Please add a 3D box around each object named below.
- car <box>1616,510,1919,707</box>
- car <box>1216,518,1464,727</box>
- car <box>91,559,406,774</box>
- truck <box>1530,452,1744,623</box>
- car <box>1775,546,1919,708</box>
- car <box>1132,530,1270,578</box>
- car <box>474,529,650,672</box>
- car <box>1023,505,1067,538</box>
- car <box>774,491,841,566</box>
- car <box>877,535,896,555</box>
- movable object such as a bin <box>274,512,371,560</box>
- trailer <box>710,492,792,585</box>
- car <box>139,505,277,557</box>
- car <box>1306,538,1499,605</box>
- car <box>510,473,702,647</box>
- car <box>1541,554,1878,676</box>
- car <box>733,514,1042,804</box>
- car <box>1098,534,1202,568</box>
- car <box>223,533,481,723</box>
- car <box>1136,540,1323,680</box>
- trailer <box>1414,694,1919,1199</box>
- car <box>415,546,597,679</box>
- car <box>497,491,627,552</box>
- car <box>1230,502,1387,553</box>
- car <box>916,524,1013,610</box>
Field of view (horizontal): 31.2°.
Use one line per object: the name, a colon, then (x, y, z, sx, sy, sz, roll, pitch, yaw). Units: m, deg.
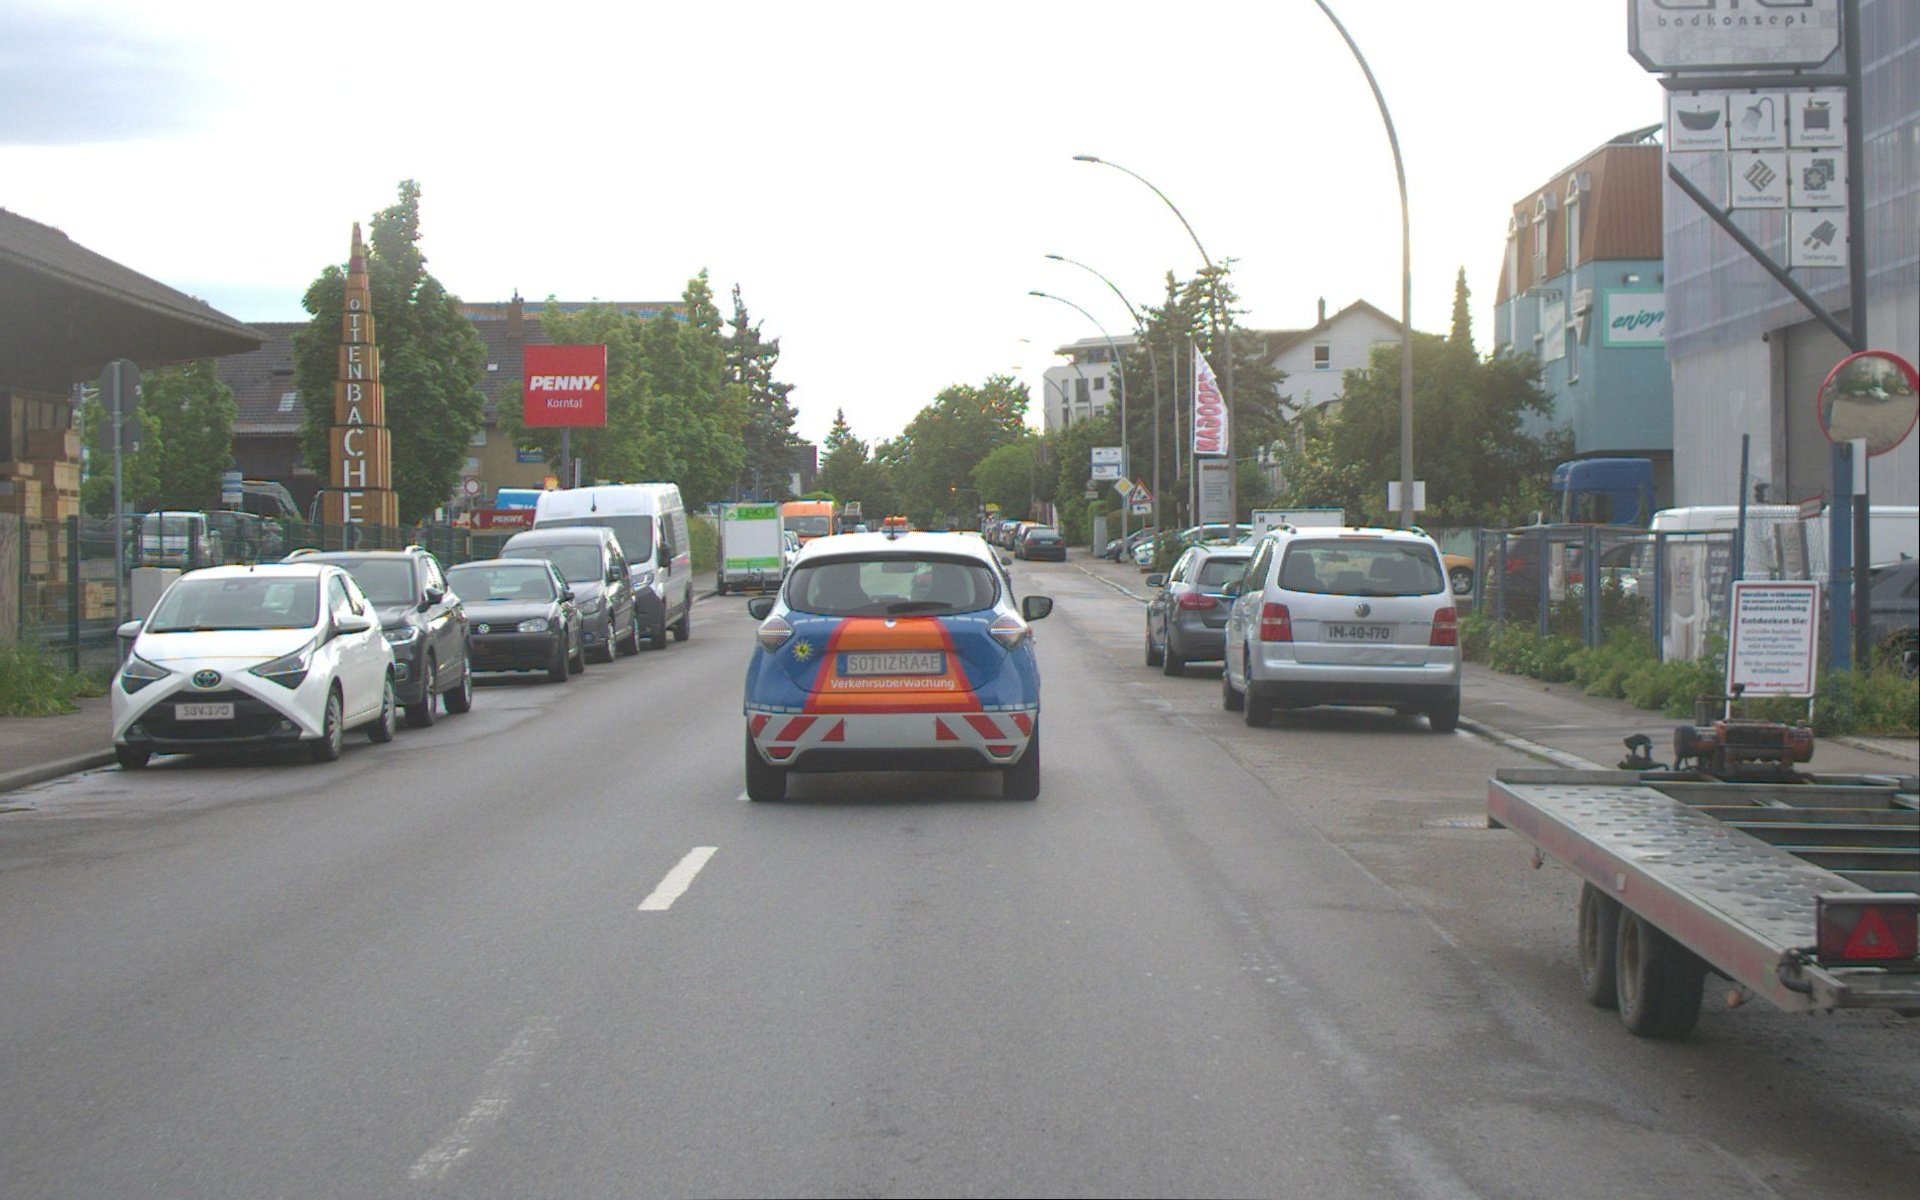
car: (9.208, 0.097, 34.760, 4.731, 1.880, 2.000, 1, 1, 0)
car: (3.169, 0.153, 29.368, 1.739, 1.616, 4.373, 1, 1, 2)
car: (-5.414, 0.457, 26.564, 1.616, 1.504, 3.660, -1, 1, 1)
truck: (15.610, -1.434, 79.473, 4.143, 3.661, 2.720, 3, 1, -2)
car: (9.950, 0.271, 32.249, 4.103, 1.452, 2.000, 1, 1, 0)
car: (7.832, -1.502, 112.068, 4.338, 1.470, 1.903, 1, 1, -1)
car: (-5.394, -0.017, 47.089, 1.769, 1.762, 4.446, -3, 1, 1)
car: (3.506, -3.237, 142.360, 1.589, 1.336, 4.093, 0, 1, -2)
car: (-5.296, -2.505, 120.038, 2.124, 2.529, 6.022, -1, 1, -1)
car: (-5.470, -4.116, 255.410, 1.386, 1.478, 3.784, 0, 1, -2)
movable object such as a bin: (-24.202, -2.419, 130.591, 3.421, 1.753, 2.000, 1, 1, -6)
trailer: (-5.453, -1.630, 90.138, 1.812, 2.306, 4.731, -2, 1, -1)
car: (-23.872, -2.194, 109.222, 4.054, 1.546, 1.886, 1, 1, -4)
car: (9.710, -0.643, 75.646, 3.987, 1.425, 1.631, 0, 1, -1)
car: (-5.356, -0.635, 52.874, 2.158, 2.418, 6.460, -3, 1, 0)
car: (10.391, 0.190, 47.863, 4.243, 1.530, 1.812, 2, 1, 0)
car: (-0.433, 0.311, 21.024, 1.731, 1.625, 3.495, 0, 1, -1)
car: (7.543, -1.962, 136.909, 3.986, 1.262, 1.951, 1, 1, -1)
car: (-5.477, 0.215, 31.385, 1.661, 1.579, 3.916, -2, 1, -1)
car: (3.010, 0.079, 39.219, 1.738, 1.461, 4.546, 1, 1, 0)
trailer: (3.016, 0.944, 11.179, 2.174, 0.894, 6.637, 1, 1, 0)
car: (-5.309, 0.111, 40.650, 1.661, 1.443, 4.318, -1, 1, -2)
car: (-14.018, -2.760, 121.371, 4.306, 2.007, 2.063, 1, 1, 0)
car: (10.267, -2.132, 101.469, 4.415, 1.388, 1.880, 1, 1, -1)
car: (0.056, -0.618, 64.274, 1.650, 1.516, 4.000, 1, 1, -2)
